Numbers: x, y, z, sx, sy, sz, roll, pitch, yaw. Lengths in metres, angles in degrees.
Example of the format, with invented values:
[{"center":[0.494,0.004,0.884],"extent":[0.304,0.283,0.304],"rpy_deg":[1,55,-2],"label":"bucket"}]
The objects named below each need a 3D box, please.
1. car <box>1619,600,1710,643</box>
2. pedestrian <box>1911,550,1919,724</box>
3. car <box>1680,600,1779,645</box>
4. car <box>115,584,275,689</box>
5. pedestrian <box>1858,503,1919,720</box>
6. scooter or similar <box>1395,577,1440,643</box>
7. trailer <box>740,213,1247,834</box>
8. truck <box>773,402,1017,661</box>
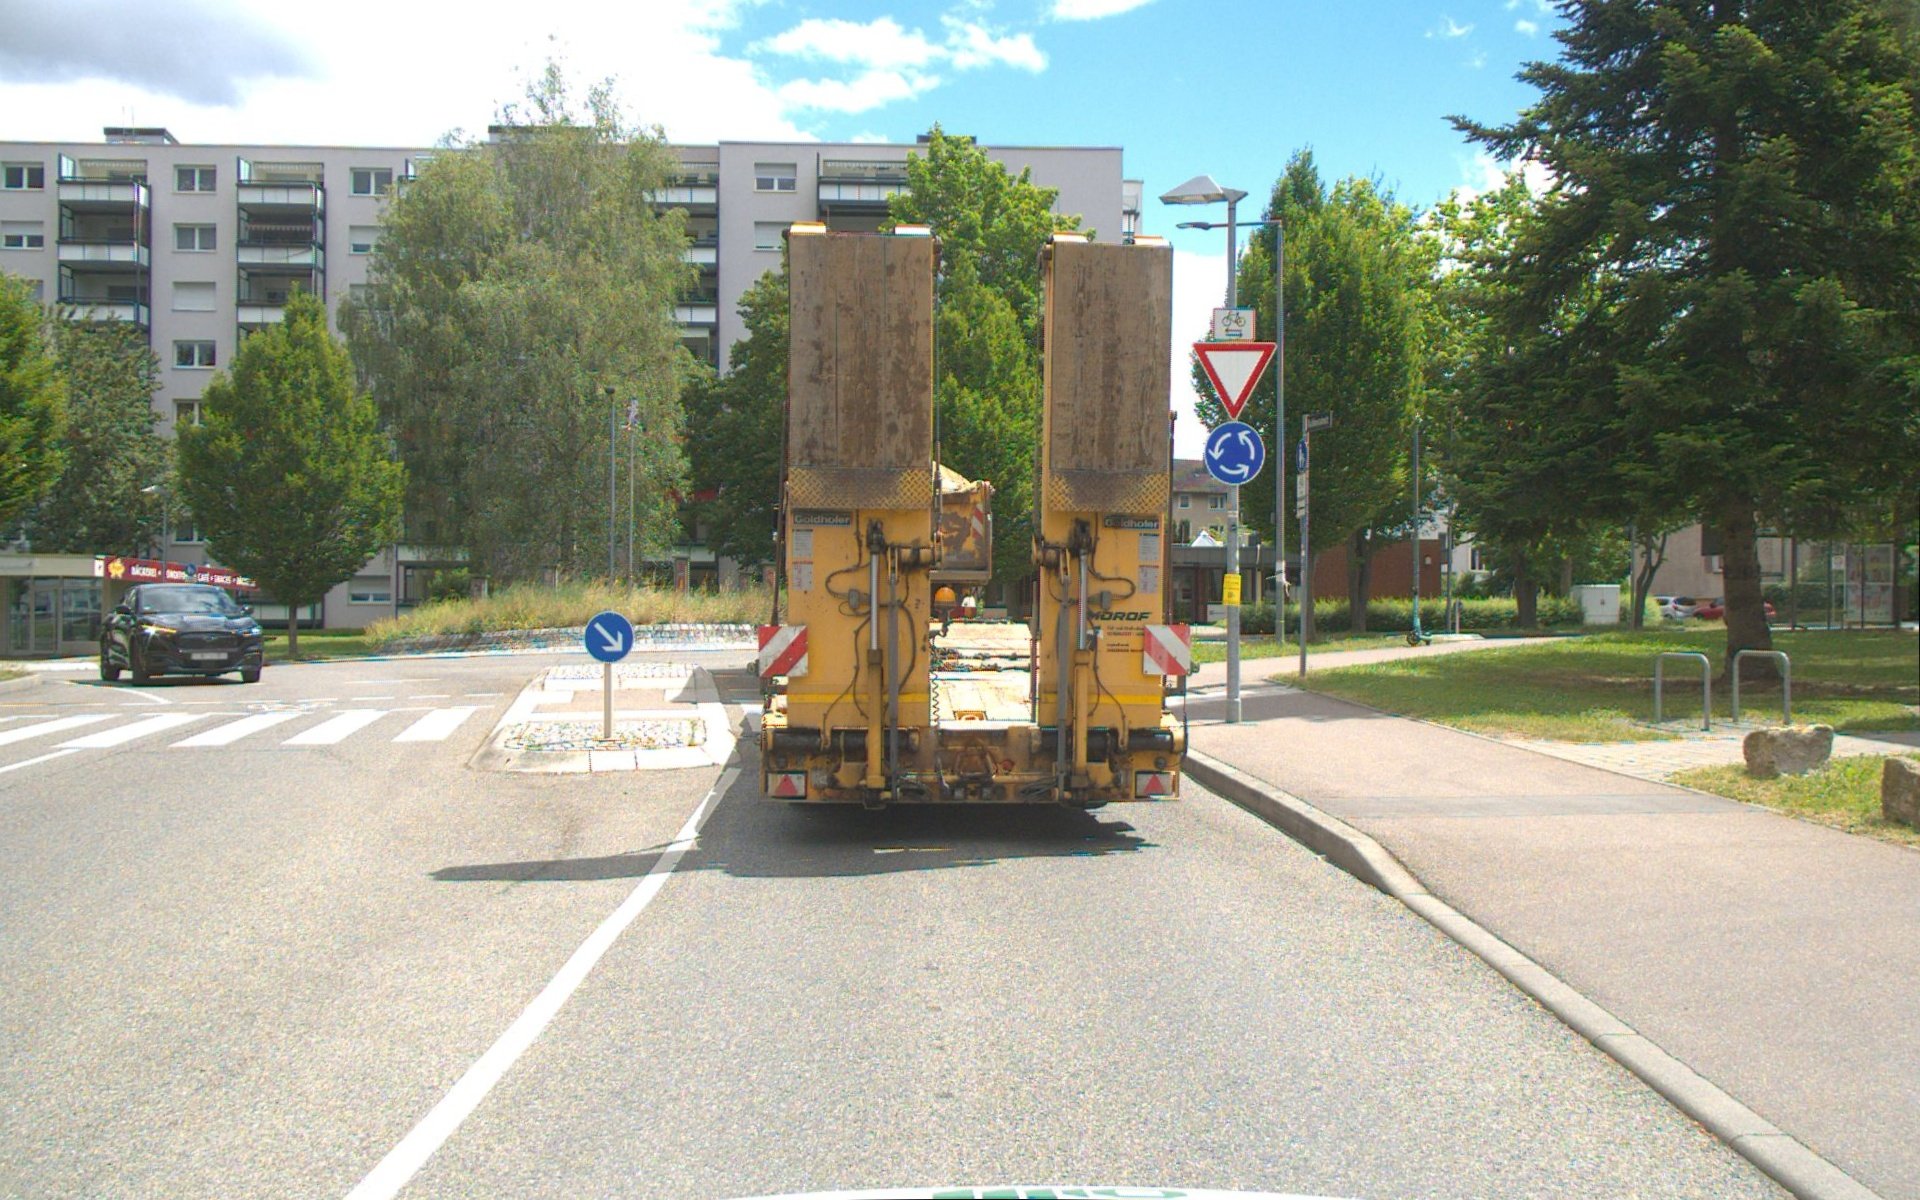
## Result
[{"center":[34.044,1.010,80.023],"extent":[1.962,1.975,3.980],"rpy_deg":[1,0,-17],"label":"car"},{"center":[9.018,0.327,14.663],"extent":[0.728,1.556,0.689],"rpy_deg":[-1,0,-11],"label":"pedestrian"},{"center":[35.252,1.024,75.902],"extent":[1.980,1.975,3.980],"rpy_deg":[1,0,-17],"label":"car"},{"center":[-12.461,0.534,26.793],"extent":[1.972,1.552,4.479],"rpy_deg":[1,0,-30],"label":"car"},{"center":[9.310,0.104,15.886],"extent":[0.643,2.049,1.043],"rpy_deg":[-1,0,-14],"label":"pedestrian"},{"center":[9.864,0.202,35.654],"extent":[0.476,1.366,1.384],"rpy_deg":[-2,0,35],"label":"scooter or similar"},{"center":[-0.225,-0.481,14.750],"extent":[2.808,3.431,10.831],"rpy_deg":[1,1,-5],"label":"trailer"},{"center":[-1.174,-0.939,24.406],"extent":[2.930,3.087,8.477],"rpy_deg":[1,1,-5],"label":"truck"}]
